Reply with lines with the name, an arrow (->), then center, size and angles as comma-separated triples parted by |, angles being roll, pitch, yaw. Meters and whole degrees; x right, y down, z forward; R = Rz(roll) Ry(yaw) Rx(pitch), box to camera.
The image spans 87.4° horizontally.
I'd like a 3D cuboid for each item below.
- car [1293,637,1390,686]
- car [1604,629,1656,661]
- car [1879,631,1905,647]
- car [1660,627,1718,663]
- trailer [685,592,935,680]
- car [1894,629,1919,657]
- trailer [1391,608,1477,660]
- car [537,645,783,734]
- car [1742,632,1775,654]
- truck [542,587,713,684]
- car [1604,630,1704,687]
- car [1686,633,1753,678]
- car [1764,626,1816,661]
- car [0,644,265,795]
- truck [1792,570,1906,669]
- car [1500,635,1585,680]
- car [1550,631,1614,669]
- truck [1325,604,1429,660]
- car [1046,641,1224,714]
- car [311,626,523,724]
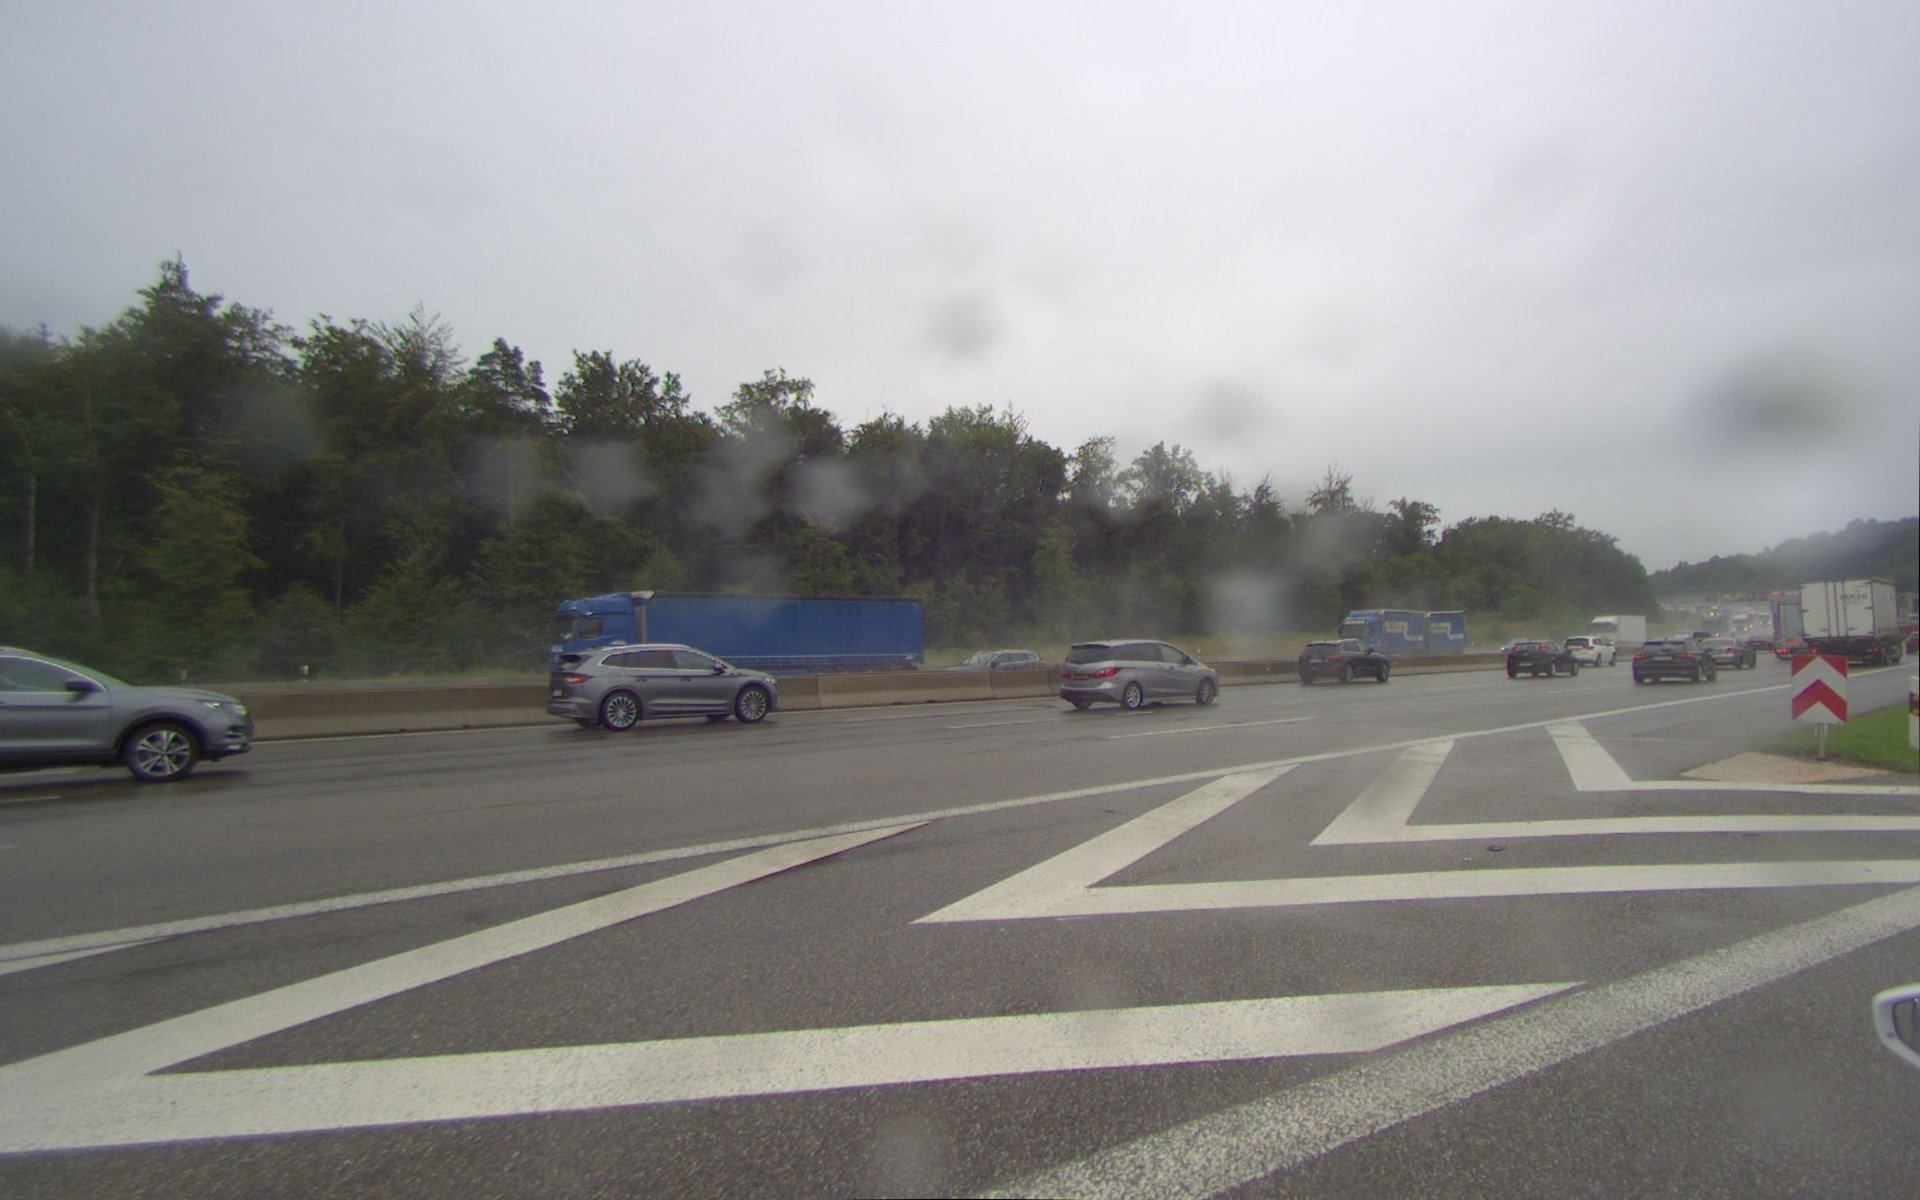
car -> 14.670, 2.326, 38.515 | 4.068, 1.758, 1.760 | 2, -4, -41
car -> 45.053, 3.033, 67.515 | 3.971, 2.040, 1.976 | 2, -4, -42
car -> 111.386, 4.639, 120.061 | 3.971, 1.771, 1.975 | 2, 0, -43
car -> 43.089, 2.630, 59.355 | 3.971, 2.040, 1.976 | 2, -3, -42
trailer -> -6.312, 1.589, 44.484 | 11.310, 3.462, 2.709 | 2, -3, -41
car -> 64.770, 2.885, 67.952 | 3.971, 1.839, 1.976 | 1, -2, -42
trailer -> 40.350, 2.926, 85.383 | 9.095, 4.100, 3.063 | 3, 0, -41
car -> -5.914, 1.723, 20.100 | 4.421, 1.594, 1.705 | 2, -4, -39
car -> 68.044, 3.655, 85.534 | 3.760, 1.810, 1.682 | 2, -4, -44
truck -> -12.781, 1.387, 38.855 | 5.666, 3.460, 2.738 | 2, -3, -41
car -> 22.640, 1.889, 32.736 | 3.817, 1.758, 1.760 | 2, -4, -41
car -> 35.269, 2.549, 46.606 | 4.304, 1.997, 1.772 | 2, -3, -43
car -> 50.385, 2.632, 60.961 | 1.974, 2.040, 3.975 | -4, -4, 45
car -> -10.642, 1.334, 11.498 | 4.298, 1.594, 1.705 | 2, -4, -40
truck -> 43.378, 1.087, 48.838 | 11.756, 4.348, 2.824 | 2, -4, -42
car -> 23.867, 2.319, 41.122 | 4.068, 1.758, 1.761 | 2, -3, -41
car -> 35.119, 2.802, 56.668 | 3.970, 2.040, 1.976 | 2, -4, -42
truck -> 32.922, 2.547, 78.932 | 10.475, 4.032, 3.035 | 3, 0, -41
car -> 4.238, 1.794, 23.983 | 4.297, 1.546, 1.775 | 1, -4, -39
car -> -12.366, 1.655, 22.984 | 3.968, 2.040, 1.859 | 2, -3, -41
